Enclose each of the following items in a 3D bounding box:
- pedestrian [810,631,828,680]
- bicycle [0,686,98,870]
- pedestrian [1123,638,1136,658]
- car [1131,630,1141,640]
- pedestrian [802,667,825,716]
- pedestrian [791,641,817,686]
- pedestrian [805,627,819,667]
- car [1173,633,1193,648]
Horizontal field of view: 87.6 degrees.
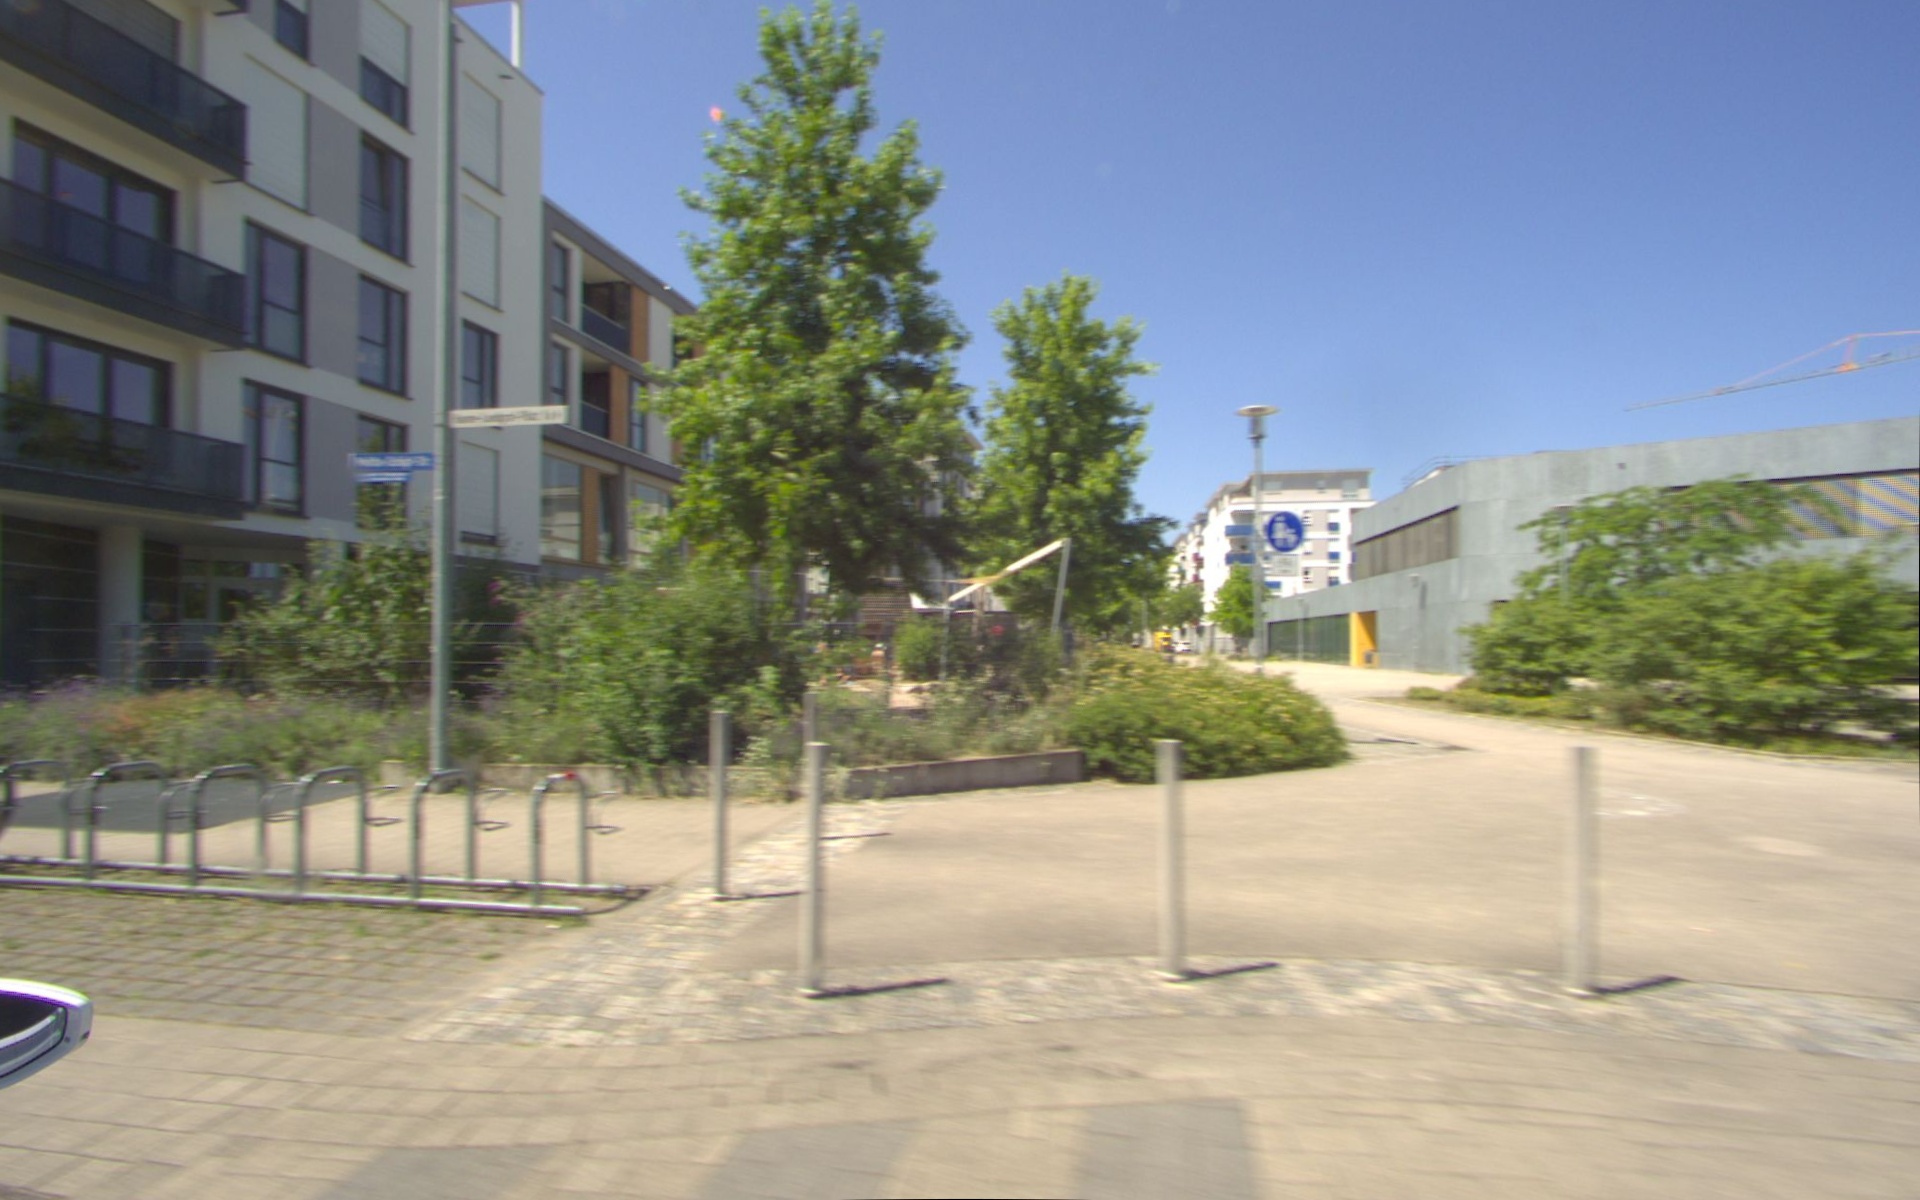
[{"bbox_3d":[-3.108,1.217,22.085,0.282,1.067,0.289,0,-2,30],"label":"pedestrian"},{"bbox_3d":[-5.956,1.044,5.404,0.858,1.016,2.033,0,-1,0],"label":"bicycle"},{"bbox_3d":[11.364,3.208,66.994,0.833,1.365,0.696,0,-1,8],"label":"pedestrian"},{"bbox_3d":[36.650,7.384,208.384,1.961,2.039,4.002,0,-2,7],"label":"car"},{"bbox_3d":[-3.196,1.987,21.849,0.279,1.037,0.408,-2,-3,44],"label":"pedestrian"},{"bbox_3d":[-3.482,1.415,22.349,0.366,0.998,0.409,-1,-3,40],"label":"pedestrian"},{"bbox_3d":[-5.701,1.798,38.621,0.455,1.527,0.396,1,-2,-20],"label":"pedestrian"},{"bbox_3d":[25.291,4.625,113.631,1.962,1.629,4.001,0,-2,9],"label":"car"}]
